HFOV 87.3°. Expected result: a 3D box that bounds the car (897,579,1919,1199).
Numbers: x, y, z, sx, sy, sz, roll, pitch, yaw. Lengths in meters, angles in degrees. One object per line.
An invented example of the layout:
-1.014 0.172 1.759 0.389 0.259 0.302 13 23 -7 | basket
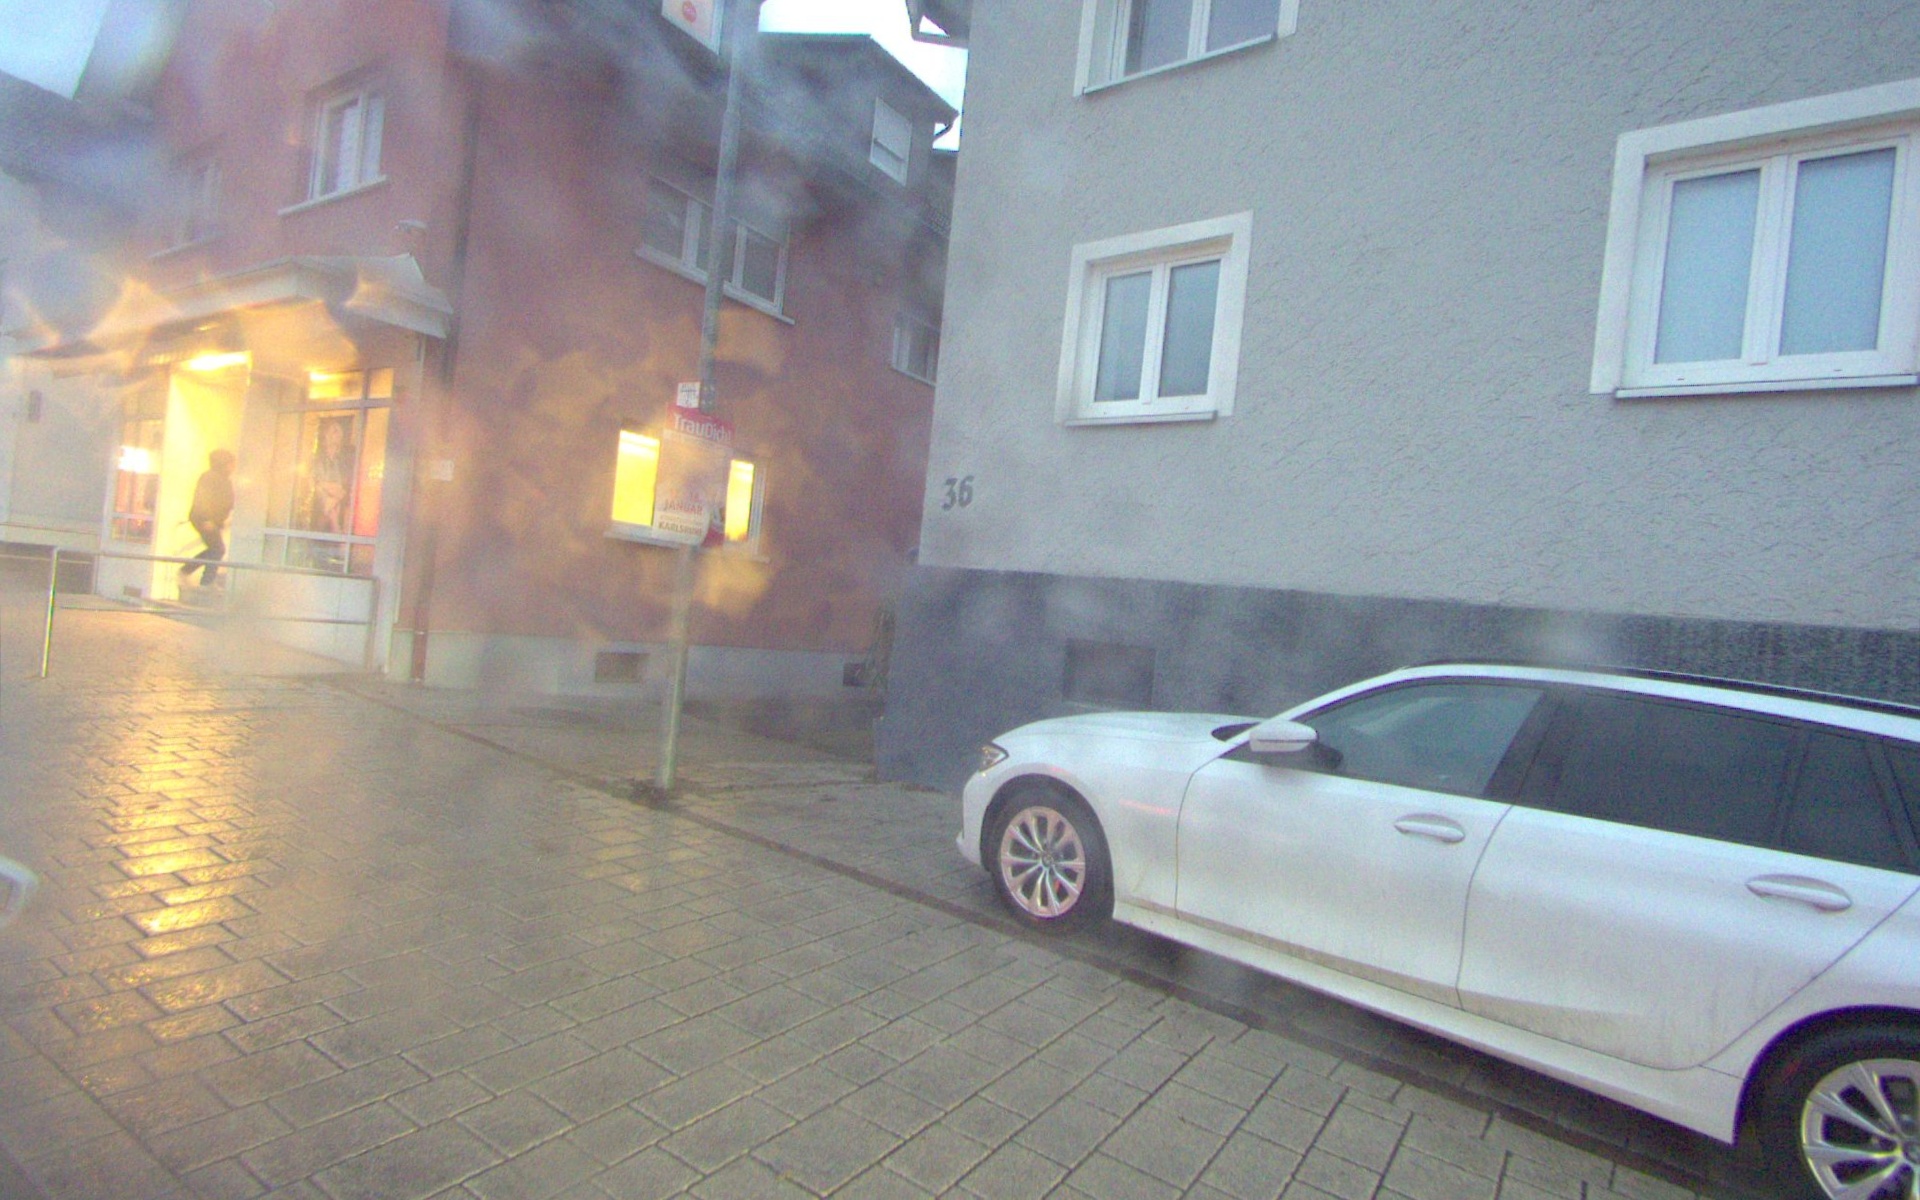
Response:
2.053 0.914 4.048 4.478 1.485 1.880 7 1 41 | car

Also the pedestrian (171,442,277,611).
-8.933 -0.886 12.205 0.812 1.910 0.663 6 -1 38 | pedestrian
